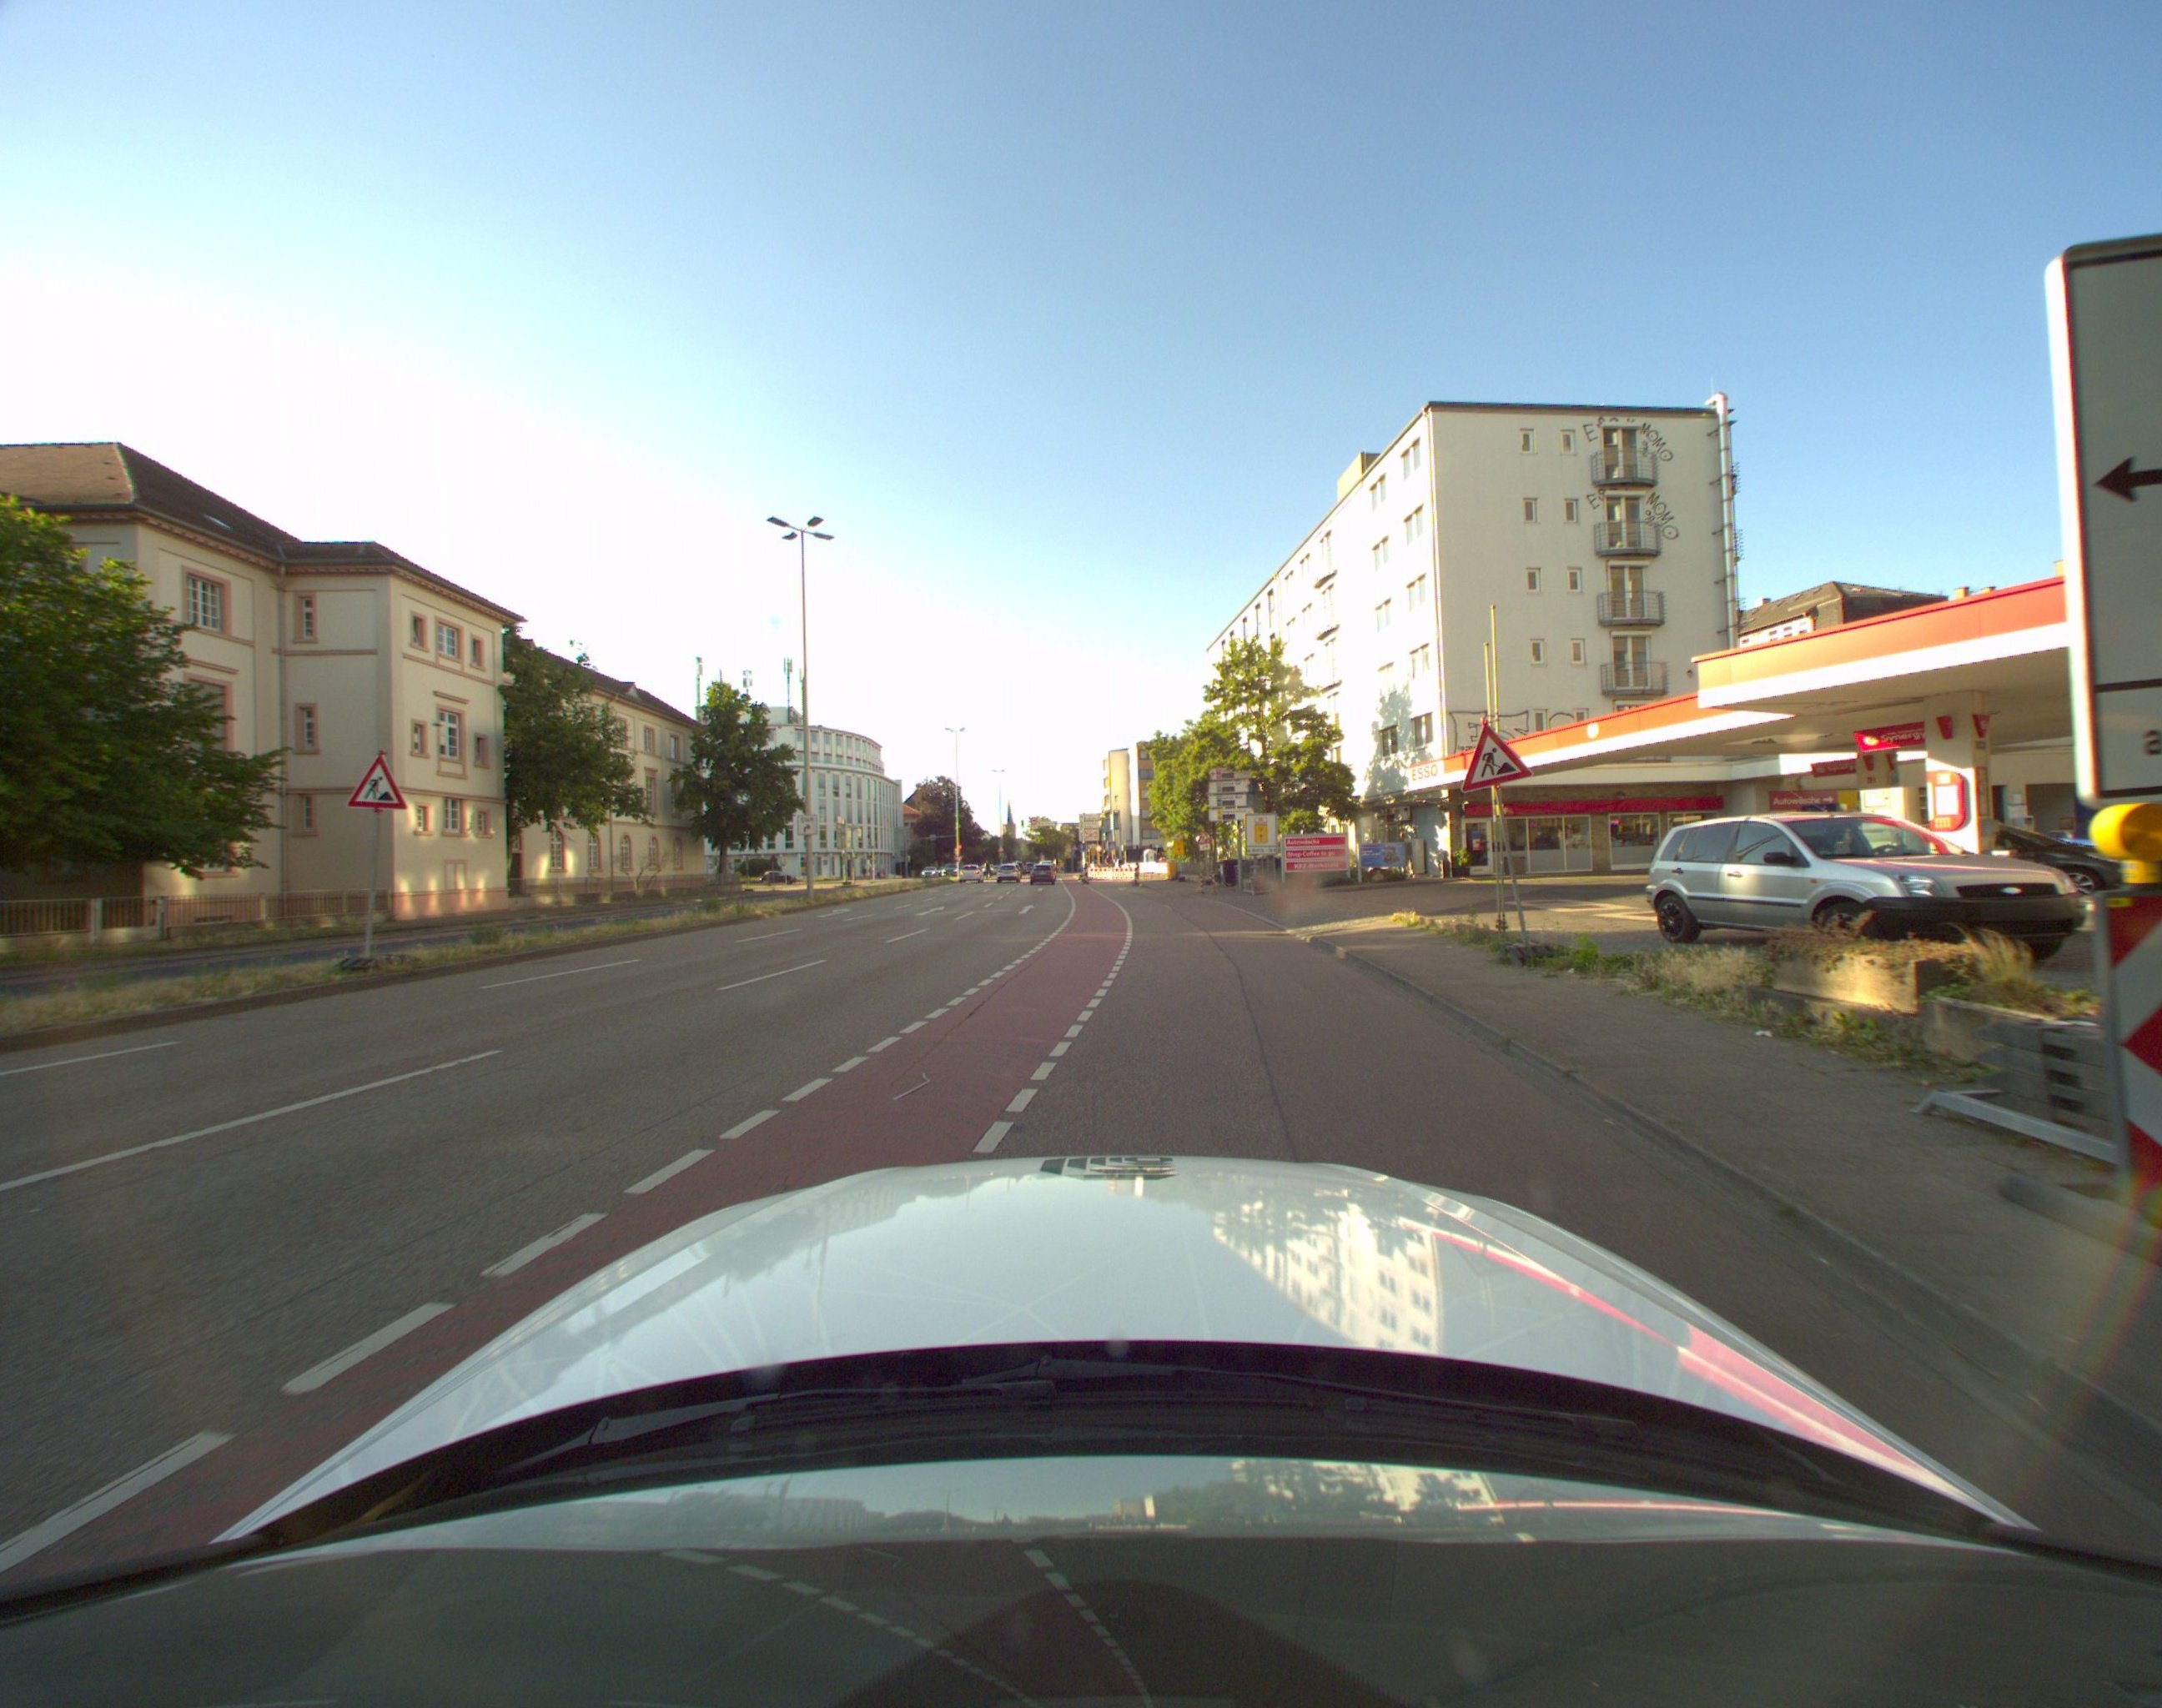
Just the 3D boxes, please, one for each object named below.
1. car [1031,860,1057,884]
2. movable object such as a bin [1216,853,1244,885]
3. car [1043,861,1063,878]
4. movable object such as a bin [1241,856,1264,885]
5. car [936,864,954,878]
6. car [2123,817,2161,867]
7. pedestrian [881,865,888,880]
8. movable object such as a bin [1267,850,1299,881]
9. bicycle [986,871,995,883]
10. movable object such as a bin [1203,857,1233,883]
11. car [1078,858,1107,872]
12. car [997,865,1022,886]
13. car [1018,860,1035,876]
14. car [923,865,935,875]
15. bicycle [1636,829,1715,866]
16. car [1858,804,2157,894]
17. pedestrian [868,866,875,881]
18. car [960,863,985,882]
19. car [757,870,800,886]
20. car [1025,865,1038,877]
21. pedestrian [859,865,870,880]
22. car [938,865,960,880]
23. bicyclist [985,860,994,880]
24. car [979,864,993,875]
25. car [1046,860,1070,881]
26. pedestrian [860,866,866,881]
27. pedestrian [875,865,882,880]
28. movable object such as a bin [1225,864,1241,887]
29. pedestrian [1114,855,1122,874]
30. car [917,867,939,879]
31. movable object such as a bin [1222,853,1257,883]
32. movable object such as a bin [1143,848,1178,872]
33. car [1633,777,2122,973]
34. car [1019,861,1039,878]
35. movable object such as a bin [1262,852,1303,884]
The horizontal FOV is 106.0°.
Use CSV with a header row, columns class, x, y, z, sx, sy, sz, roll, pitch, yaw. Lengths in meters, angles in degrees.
class,x,y,z,sx,sy,sz,roll,pitch,yaw
car,-2.634,1.237,57.950,1.744,1.564,4.046,-2,-1,-2
movable object such as a bin,7.361,0.770,40.298,1.090,1.508,1.253,-2,-3,-3
car,-2.793,1.533,81.481,1.816,1.640,3.994,-2,-1,-4
movable object such as a bin,7.918,0.760,37.558,0.776,1.309,0.864,-2,-1,-4
car,-19.684,2.503,117.790,1.835,1.816,3.999,-4,-2,0
car,31.376,-0.379,21.665,1.742,1.420,4.250,-2,-1,-3
pedestrian,-24.583,2.273,102.053,0.625,1.868,1.126,-2,-1,-3
movable object such as a bin,9.964,0.563,40.165,1.191,1.421,1.279,-4,0,0
bicycle,-8.148,2.057,73.102,0.699,1.100,2.253,-2,-1,-5
movable object such as a bin,7.410,0.847,43.942,1.217,1.344,1.049,-2,-1,-18
car,1.770,1.699,126.780,4.356,1.877,1.997,-2,-1,-5
car,-5.796,1.695,65.983,1.744,1.564,4.046,-2,-1,-2
car,-6.061,1.573,91.340,1.660,1.657,3.997,-2,-1,-2
car,-26.631,2.784,142.748,1.841,1.572,3.986,-2,-1,-10
bicycle,23.155,-0.256,31.751,2.799,1.314,0.526,-2,-1,-5
car,16.746,-0.035,14.895,1.594,1.439,3.273,-2,-1,-27
pedestrian,-26.541,2.446,103.061,0.759,1.842,0.815,-2,-1,-13
car,-9.026,1.539,68.084,1.680,1.457,3.997,-1,0,-2
car,-32.314,2.567,87.051,3.804,1.530,1.859,-3,-2,-6
car,-7.138,2.378,117.195,1.660,1.657,3.997,-2,-1,-2
pedestrian,-30.316,2.564,114.076,1.086,2.014,1.038,-2,-1,8
car,-15.716,2.184,96.991,1.989,1.578,4.893,-2,-1,-3
bicyclist,-8.177,1.407,73.025,0.690,1.728,0.986,-2,-1,-6
car,-13.735,2.258,118.202,1.845,1.461,4.042,-2,-1,-5
car,-1.895,1.404,67.711,1.722,1.602,3.721,-4,-2,0
pedestrian,-27.563,2.514,102.932,0.661,1.859,0.774,-2,-1,-15
pedestrian,-25.316,2.320,102.036,0.659,1.868,0.777,-2,-1,-5
movable object such as a bin,6.977,0.980,37.410,0.617,1.046,0.616,-2,-1,0
pedestrian,3.502,1.019,77.129,0.738,1.799,0.715,-2,-1,0
car,-19.686,2.387,105.050,1.988,1.413,4.440,-3,-1,-2
movable object such as a bin,8.179,0.718,42.102,1.327,1.485,1.205,-2,-1,-13
movable object such as a bin,8.287,0.616,85.065,3.321,2.383,1.527,-2,-1,-4
car,8.050,0.205,8.845,1.612,1.594,3.898,-2,-1,4
car,-4.992,1.501,78.961,1.744,1.564,4.046,-2,-1,-2
movable object such as a bin,9.312,0.633,37.662,1.605,1.410,0.863,-2,-1,-4
